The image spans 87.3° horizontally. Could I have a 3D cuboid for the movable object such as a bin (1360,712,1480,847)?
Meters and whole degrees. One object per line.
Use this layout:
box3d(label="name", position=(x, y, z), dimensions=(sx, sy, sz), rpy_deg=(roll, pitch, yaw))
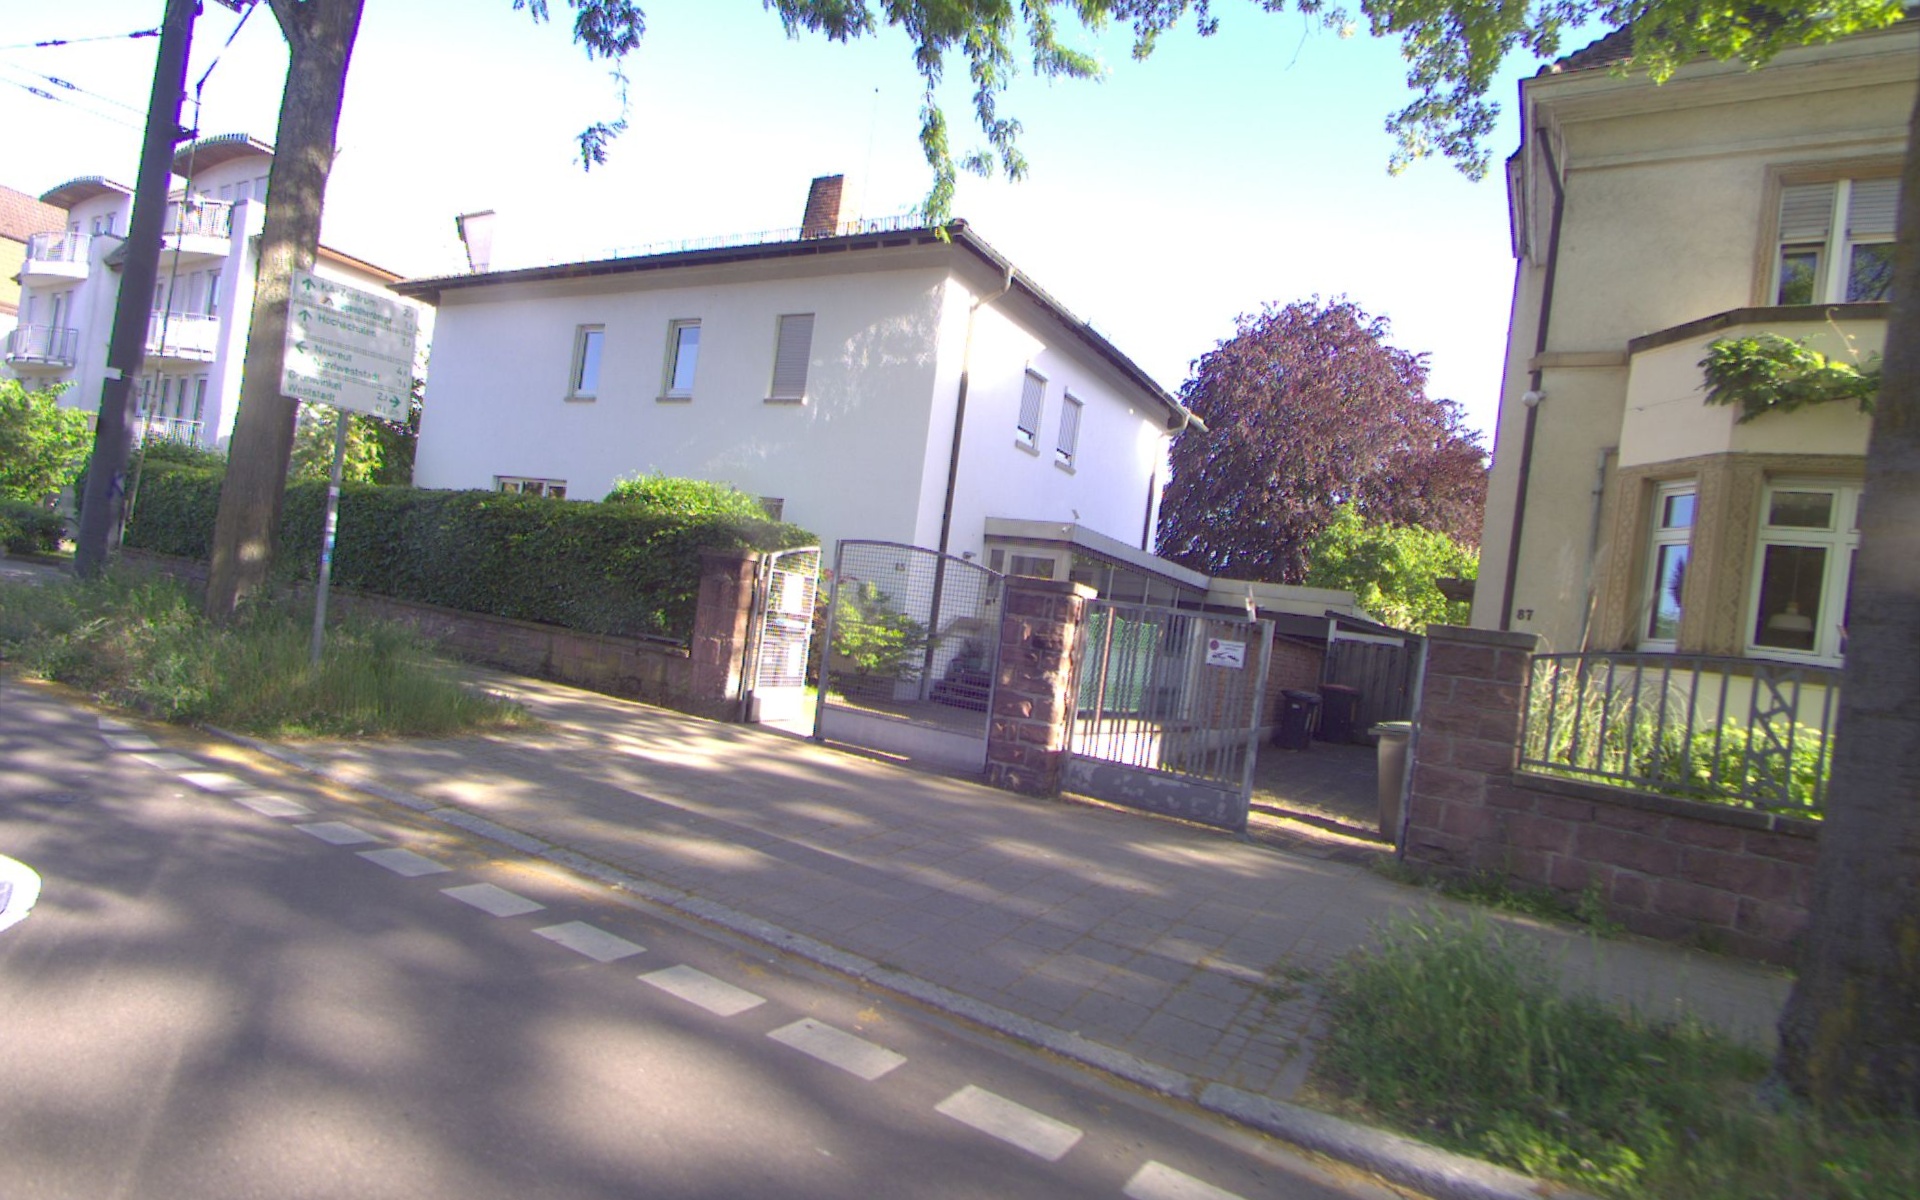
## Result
box3d(label="movable object such as a bin", position=(4.128, 1.602, 9.036), dimensions=(0.652, 1.060, 0.641), rpy_deg=(8, -1, -37))
